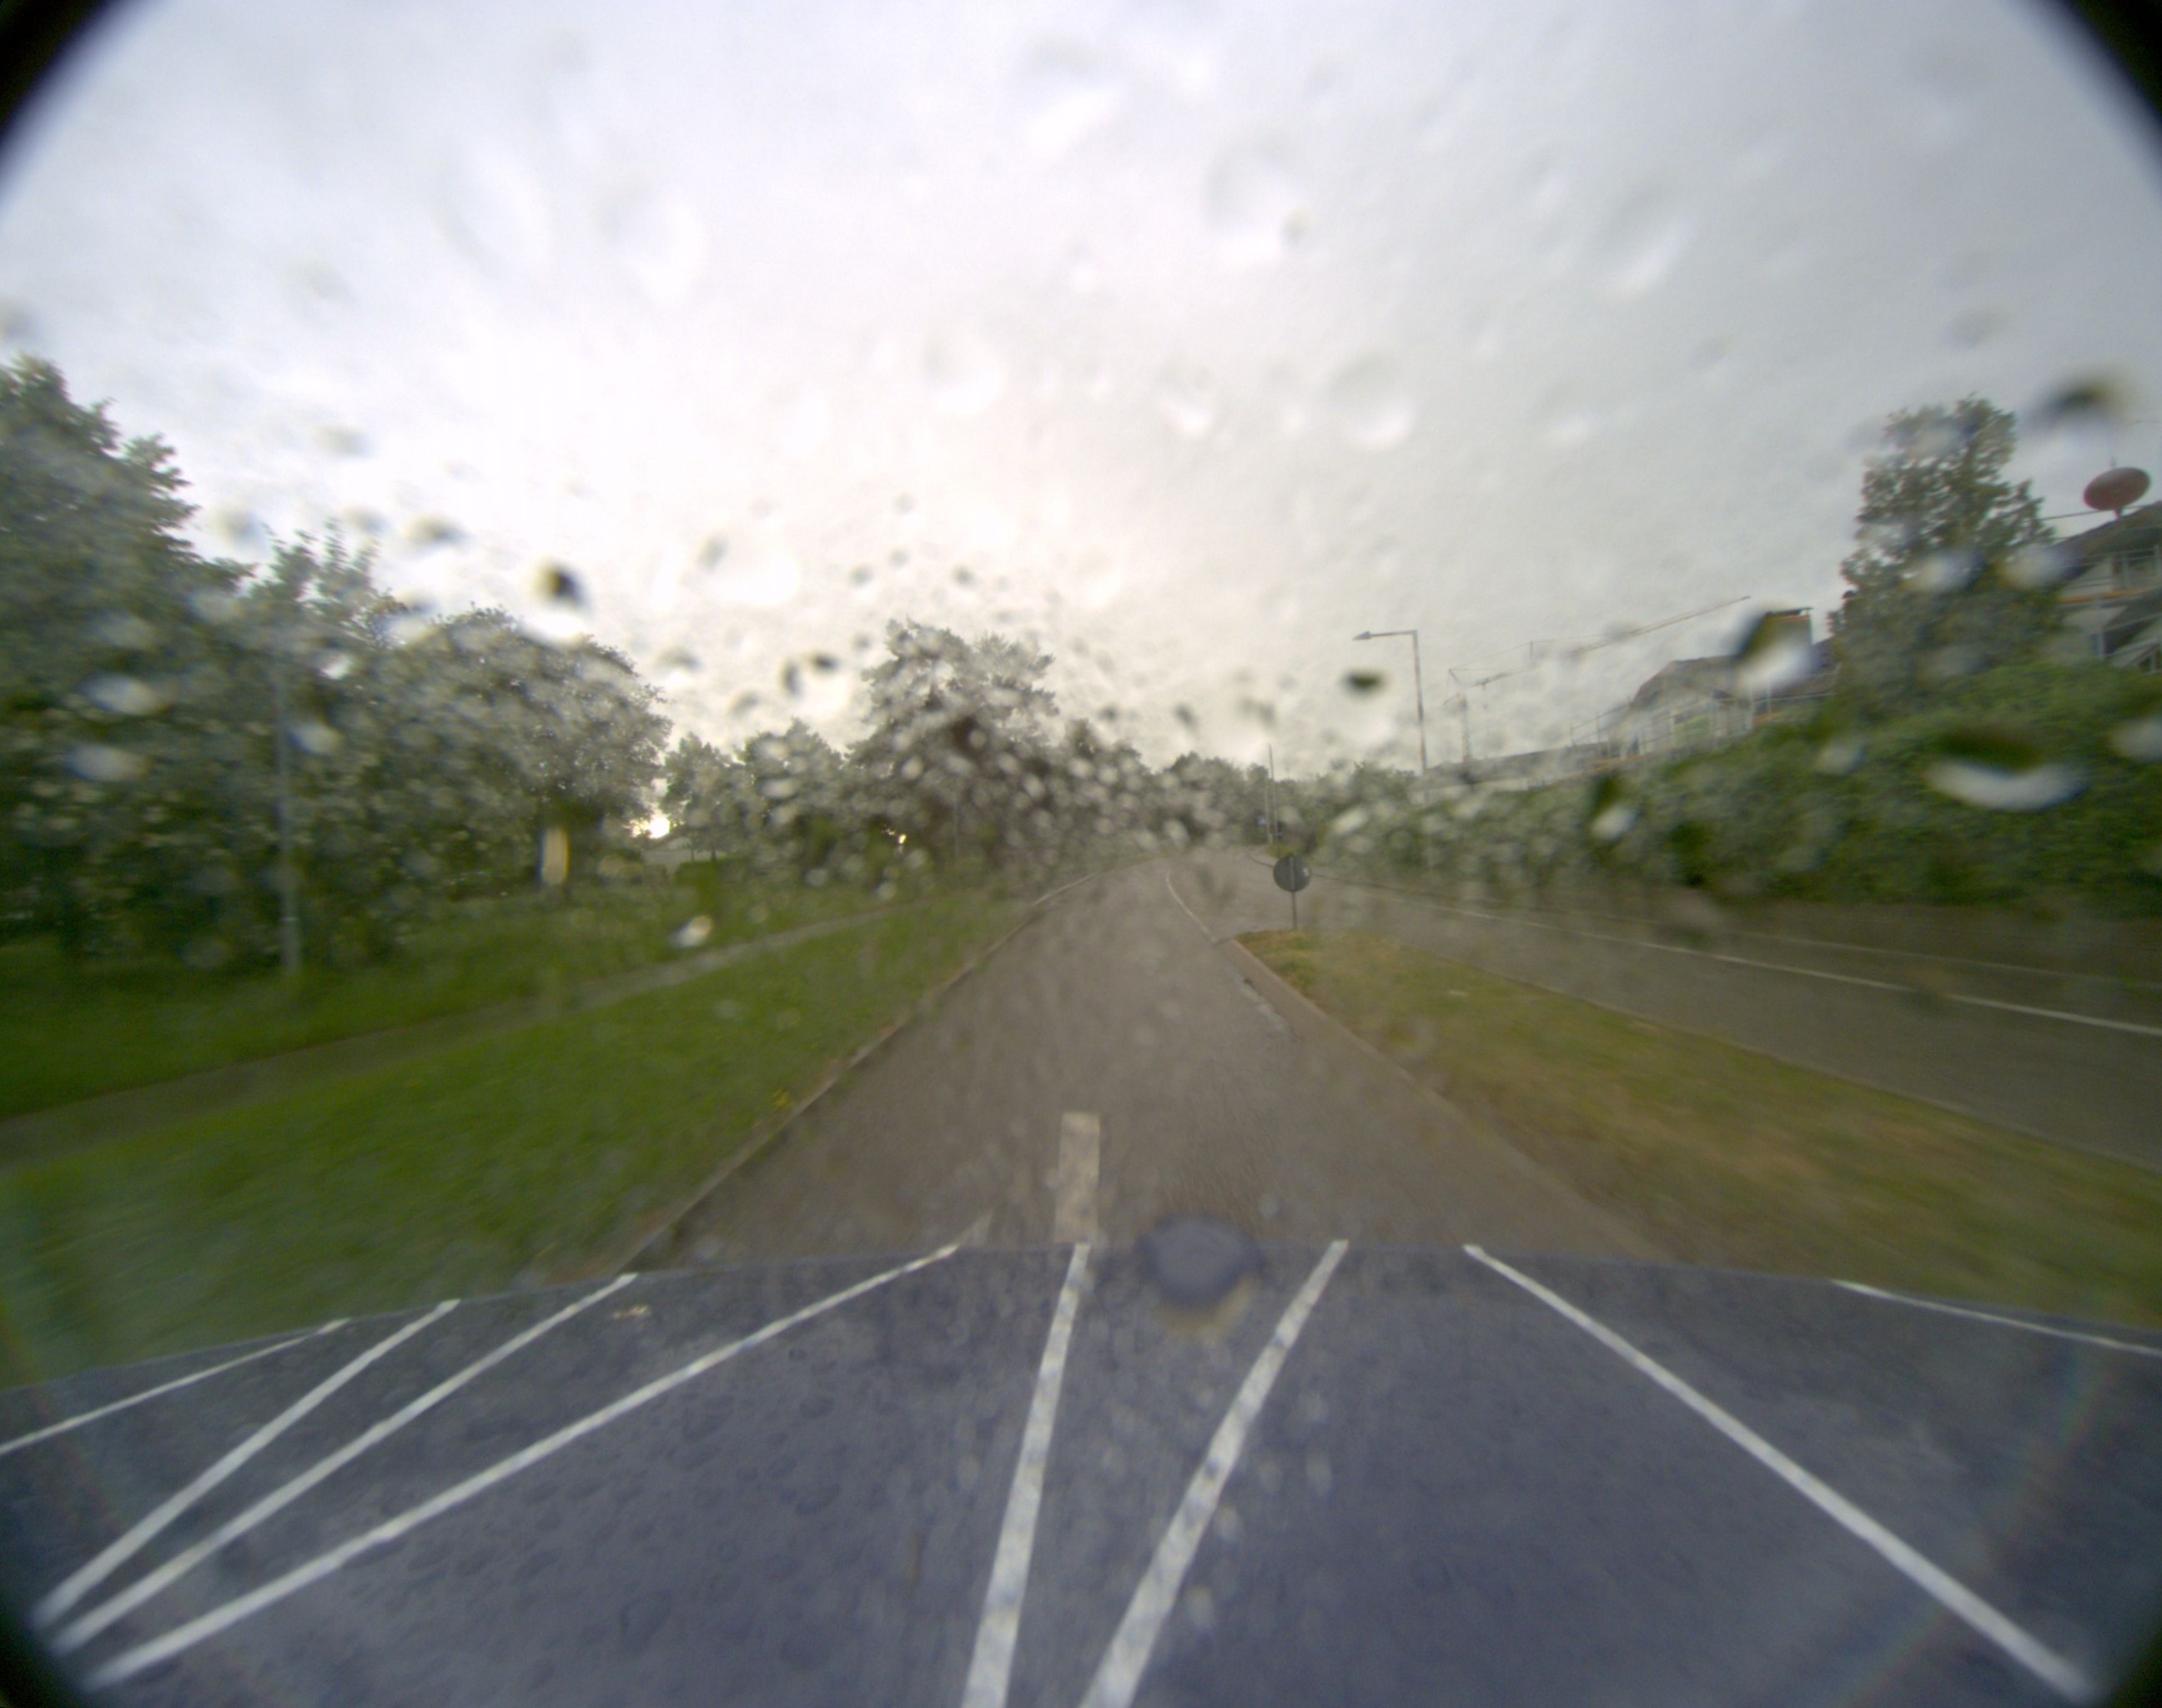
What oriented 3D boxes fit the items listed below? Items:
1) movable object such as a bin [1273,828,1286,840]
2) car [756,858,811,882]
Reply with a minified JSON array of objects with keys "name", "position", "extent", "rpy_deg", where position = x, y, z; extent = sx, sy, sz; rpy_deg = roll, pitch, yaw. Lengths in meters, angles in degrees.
[{"name":"movable object such as a bin","position":[23.274,-2.346,89.204],"extent":[1.133,1.314,1.364],"rpy_deg":[-8,0,23]},{"name":"car","position":[-23.849,1.262,61.146],"extent":[1.828,1.643,4.005],"rpy_deg":[-3,1,20]}]
